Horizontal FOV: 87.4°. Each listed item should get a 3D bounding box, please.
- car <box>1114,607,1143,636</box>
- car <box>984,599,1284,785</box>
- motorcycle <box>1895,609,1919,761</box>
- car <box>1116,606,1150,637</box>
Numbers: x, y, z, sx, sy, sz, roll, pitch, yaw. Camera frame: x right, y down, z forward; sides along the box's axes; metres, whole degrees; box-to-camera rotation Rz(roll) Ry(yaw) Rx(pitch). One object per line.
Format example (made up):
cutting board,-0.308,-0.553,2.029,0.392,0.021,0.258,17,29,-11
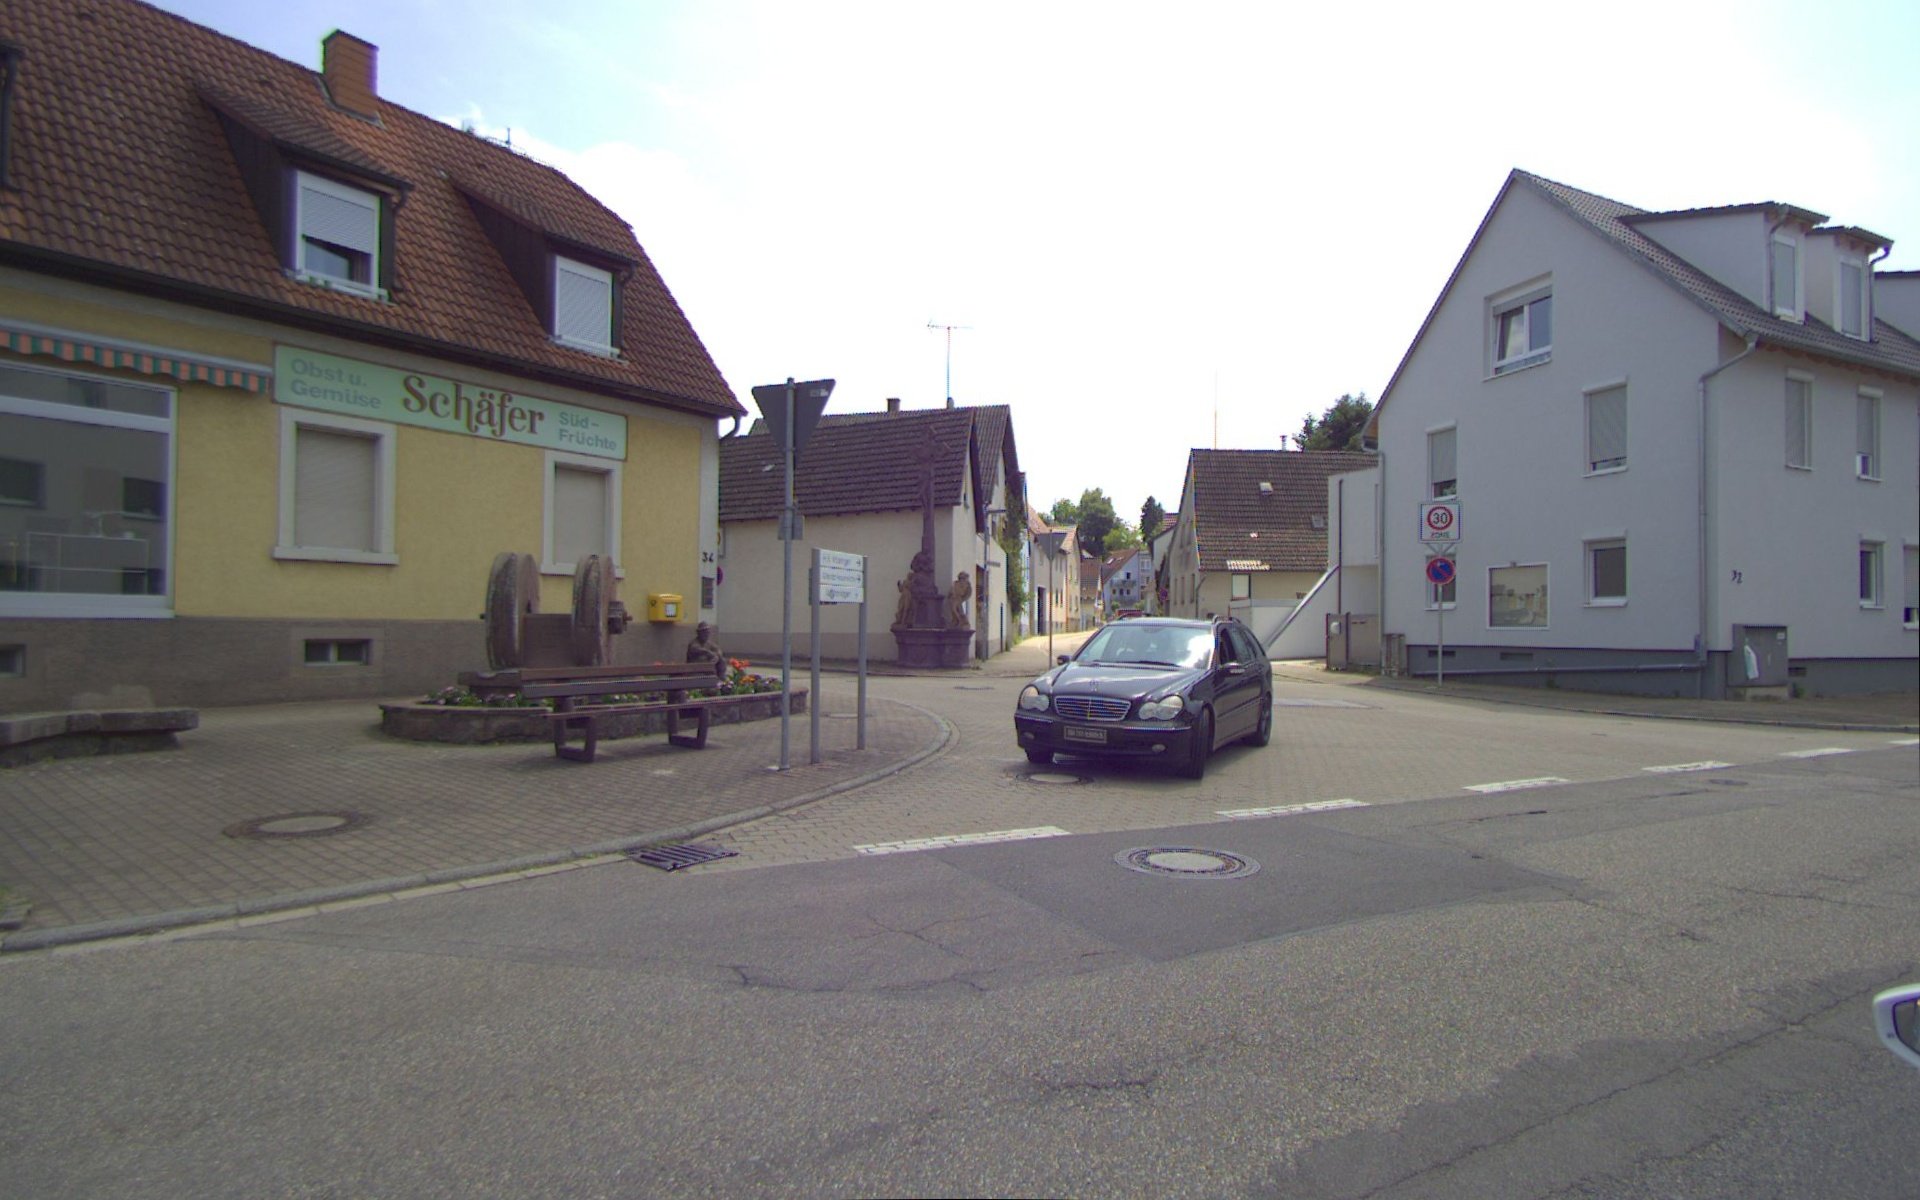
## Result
car,10.121,1.329,60.517,1.369,1.656,3.478,2,-2,4
car,2.054,0.827,10.417,1.780,1.430,4.632,2,-2,26
motorcycle,10.974,0.899,10.733,1.943,1.581,0.877,1,0,-28
car,9.428,1.204,54.998,1.461,1.550,3.478,2,-2,4
